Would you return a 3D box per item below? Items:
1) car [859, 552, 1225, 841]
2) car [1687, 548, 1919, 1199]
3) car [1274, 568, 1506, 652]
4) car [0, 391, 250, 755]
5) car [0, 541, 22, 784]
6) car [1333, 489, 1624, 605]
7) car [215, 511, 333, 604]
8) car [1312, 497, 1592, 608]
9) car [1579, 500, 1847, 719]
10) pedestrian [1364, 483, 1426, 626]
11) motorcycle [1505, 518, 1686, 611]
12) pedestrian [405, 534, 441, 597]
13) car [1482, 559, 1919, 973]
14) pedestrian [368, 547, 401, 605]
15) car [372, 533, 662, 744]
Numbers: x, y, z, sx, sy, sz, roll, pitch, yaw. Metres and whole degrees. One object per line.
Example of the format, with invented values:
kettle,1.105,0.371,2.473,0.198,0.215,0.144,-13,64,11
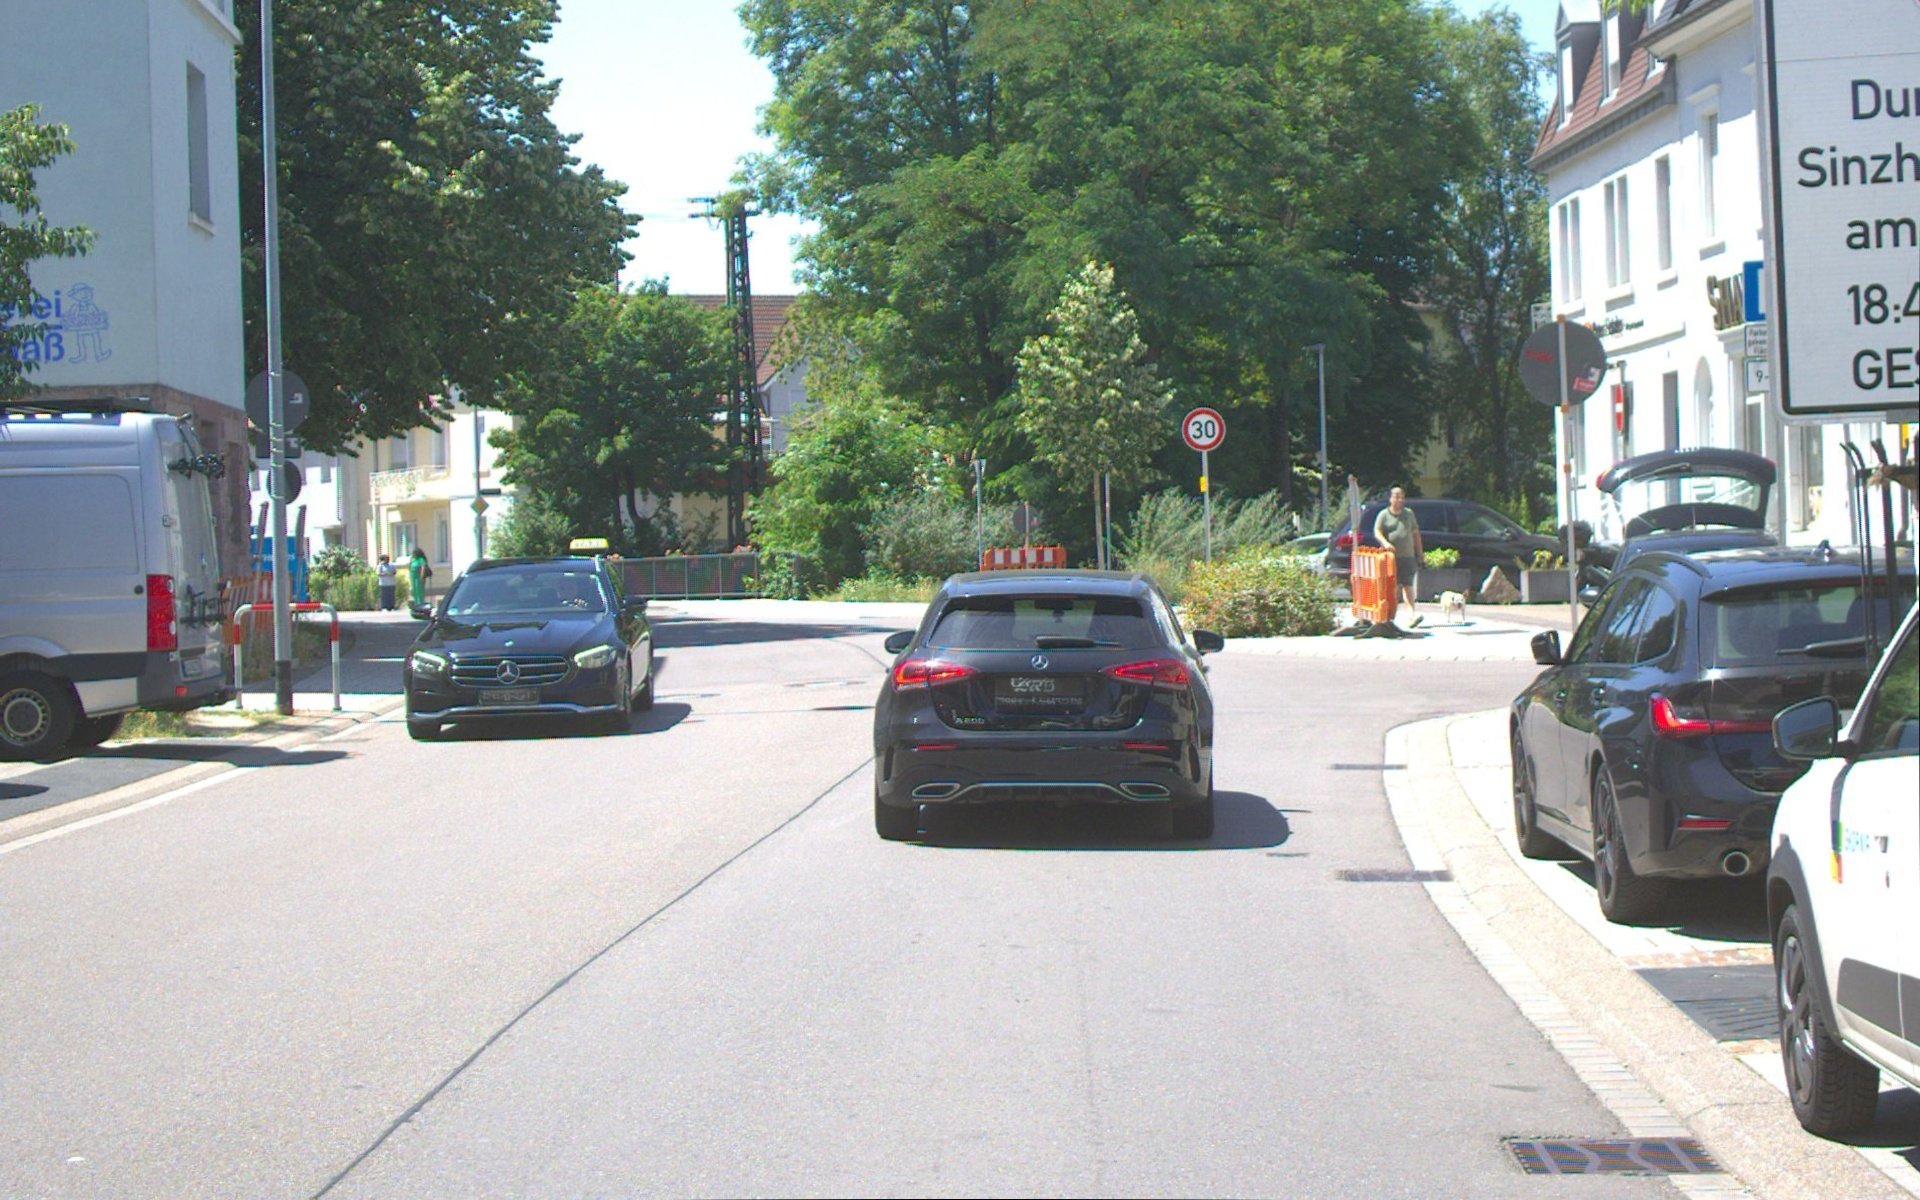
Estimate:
car,0.534,0.519,19.359,1.828,1.437,3.999,-1,-1,4
car,2.822,0.596,7.636,1.738,1.481,4.053,-4,0,4
car,8.196,0.175,65.376,4.190,1.345,1.861,0,7,-37
car,-8.661,-0.212,26.852,5.767,2.723,2.291,0,0,0
car,-8.490,0.412,21.993,4.453,1.586,2.000,0,0,-1
car,7.810,-0.794,52.008,4.074,1.710,1.856,0,0,-3
car,-19.747,-1.204,98.788,2.132,2.533,4.650,-2,0,-26
car,7.703,-0.740,54.088,4.074,1.710,1.856,0,0,-3
car,5.969,0.024,27.286,1.873,1.486,3.860,-3,2,13
pedestrian,5.590,-0.592,44.202,0.746,1.790,0.843,-1,2,6
motorcycle,8.945,-0.504,48.446,2.376,1.271,0.856,-1,1,-2
pedestrian,-14.982,-0.951,95.876,0.661,1.735,0.701,-2,0,-44
car,3.333,0.564,14.453,1.724,1.400,4.608,-3,0,3
pedestrian,-16.149,-0.668,96.475,0.614,1.607,0.837,-2,0,-31
car,-3.752,0.265,29.909,1.893,1.548,4.799,-2,2,-1
